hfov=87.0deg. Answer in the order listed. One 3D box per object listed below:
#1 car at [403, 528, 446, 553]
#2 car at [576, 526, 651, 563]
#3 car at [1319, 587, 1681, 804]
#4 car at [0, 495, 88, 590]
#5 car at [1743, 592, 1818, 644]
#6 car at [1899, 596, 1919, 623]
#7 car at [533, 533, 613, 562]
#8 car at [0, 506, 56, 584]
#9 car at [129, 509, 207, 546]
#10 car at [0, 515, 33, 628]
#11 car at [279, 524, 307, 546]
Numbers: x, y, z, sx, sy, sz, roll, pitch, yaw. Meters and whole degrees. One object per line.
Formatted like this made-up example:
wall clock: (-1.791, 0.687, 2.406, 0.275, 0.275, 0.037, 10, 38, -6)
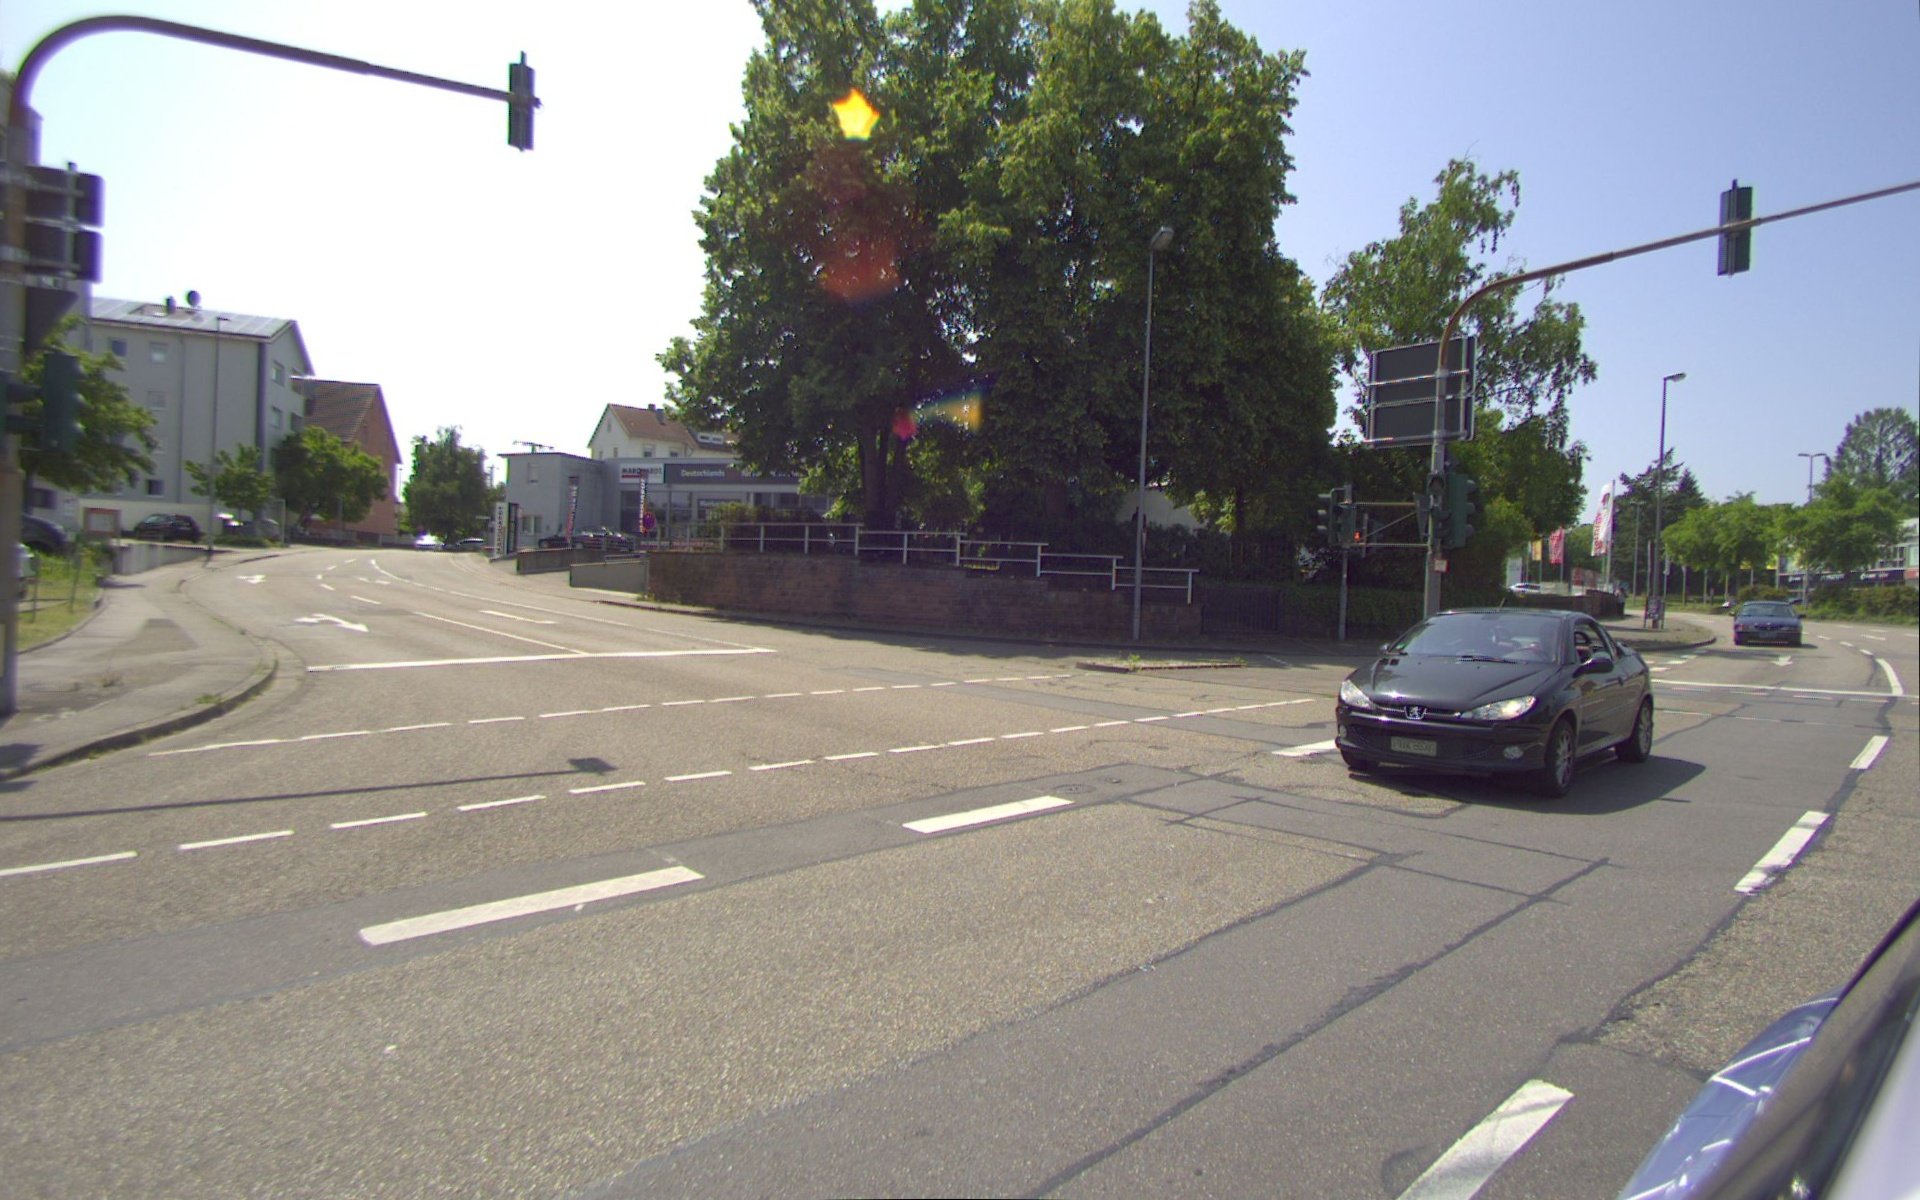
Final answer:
car: (-46.757, -5.186, 88.424, 1.960, 2.039, 4.004, 0, 0, -5)
car: (-21.577, -3.462, 63.040, 3.946, 2.038, 1.990, 4, 1, 17)
car: (4.727, 0.653, 8.651, 3.598, 1.443, 1.602, 1, 1, -42)
car: (-22.566, -1.292, 22.046, 1.870, 2.063, 5.151, -1, 0, 23)
car: (25.851, 0.516, 31.841, 1.692, 1.390, 3.941, 2, 3, 41)
car: (55.545, 0.477, 57.129, 1.847, 1.443, 4.245, 1, -4, 15)
car: (-23.124, -3.130, 60.533, 4.120, 1.474, 1.990, 4, 2, 17)
car: (-20.640, -1.103, 19.783, 1.526, 1.552, 4.193, -1, 1, 23)
car: (-41.454, -3.747, 52.959, 3.965, 1.683, 1.860, 0, 0, 30)
car: (-16.528, -0.451, 14.699, 4.239, 1.696, 1.546, 0, 1, -25)
car: (-52.775, -5.137, 80.166, 1.689, 1.528, 3.955, -1, 1, -31)
